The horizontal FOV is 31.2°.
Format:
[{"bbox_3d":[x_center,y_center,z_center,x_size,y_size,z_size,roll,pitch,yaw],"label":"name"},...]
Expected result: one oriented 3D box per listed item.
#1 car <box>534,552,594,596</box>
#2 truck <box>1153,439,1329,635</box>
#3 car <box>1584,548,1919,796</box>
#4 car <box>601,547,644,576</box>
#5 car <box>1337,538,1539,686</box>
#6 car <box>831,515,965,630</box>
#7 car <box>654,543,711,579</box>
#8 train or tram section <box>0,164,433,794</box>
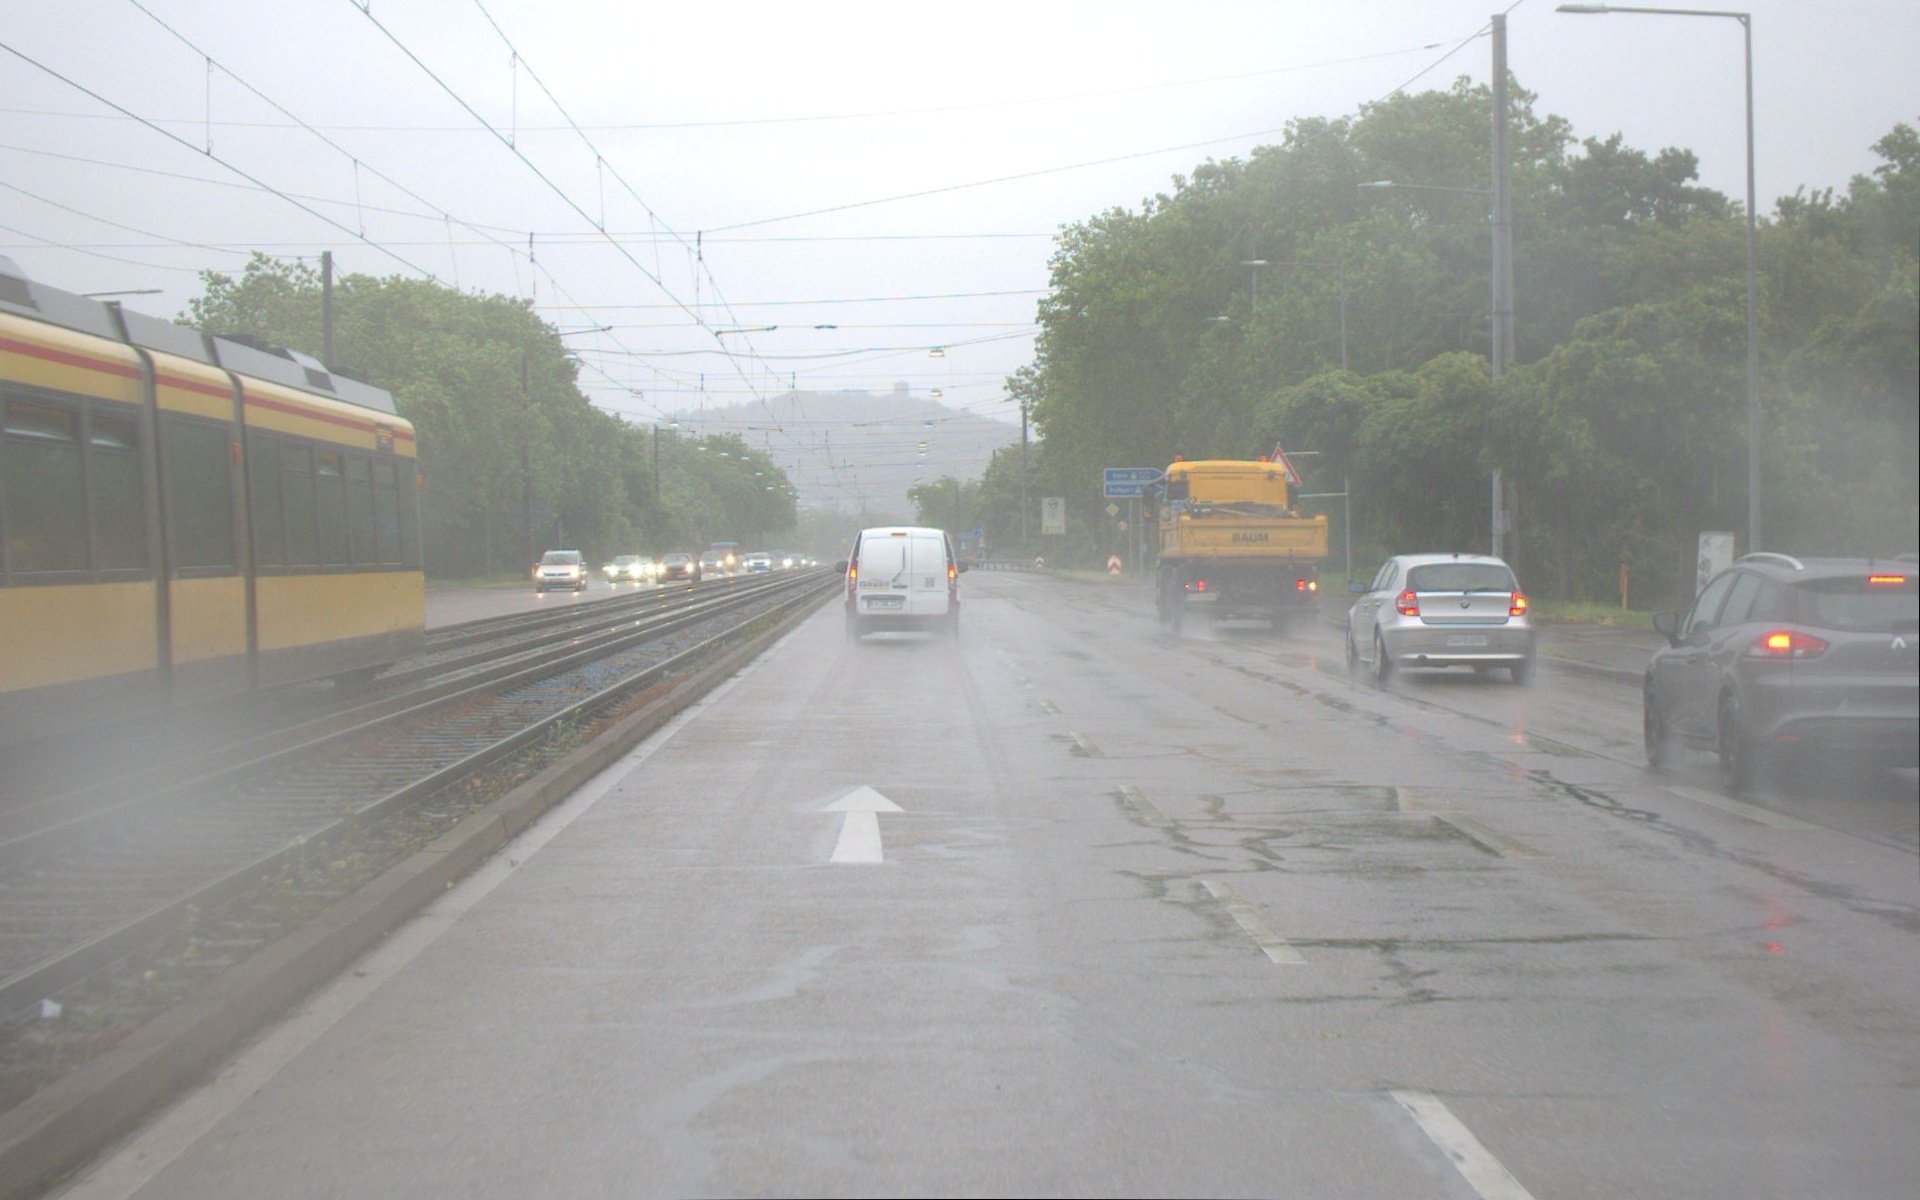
[{"bbox_3d":[-15.439,-1.023,134.210,1.842,1.568,5.067,0,2,-1],"label":"car"},{"bbox_3d":[4.884,-1.164,60.842,2.555,3.246,6.933,1,2,0],"label":"truck"},{"bbox_3d":[5.349,0.388,22.103,1.888,1.352,4.277,1,2,0],"label":"car"},{"bbox_3d":[-17.054,-1.960,174.043,1.757,1.358,5.072,0,2,-1],"label":"car"},{"bbox_3d":[5.357,0.083,38.984,1.626,1.498,4.606,1,2,0],"label":"car"},{"bbox_3d":[-0.937,-0.462,53.783,1.989,1.678,3.740,1,2,0],"label":"car"},{"bbox_3d":[-12.888,-1.812,160.144,1.994,1.459,5.251,-3,2,2],"label":"car"},{"bbox_3d":[-7.291,-1.037,29.719,2.886,3.692,19.532,0,2,-1],"label":"train or tram section"}]
